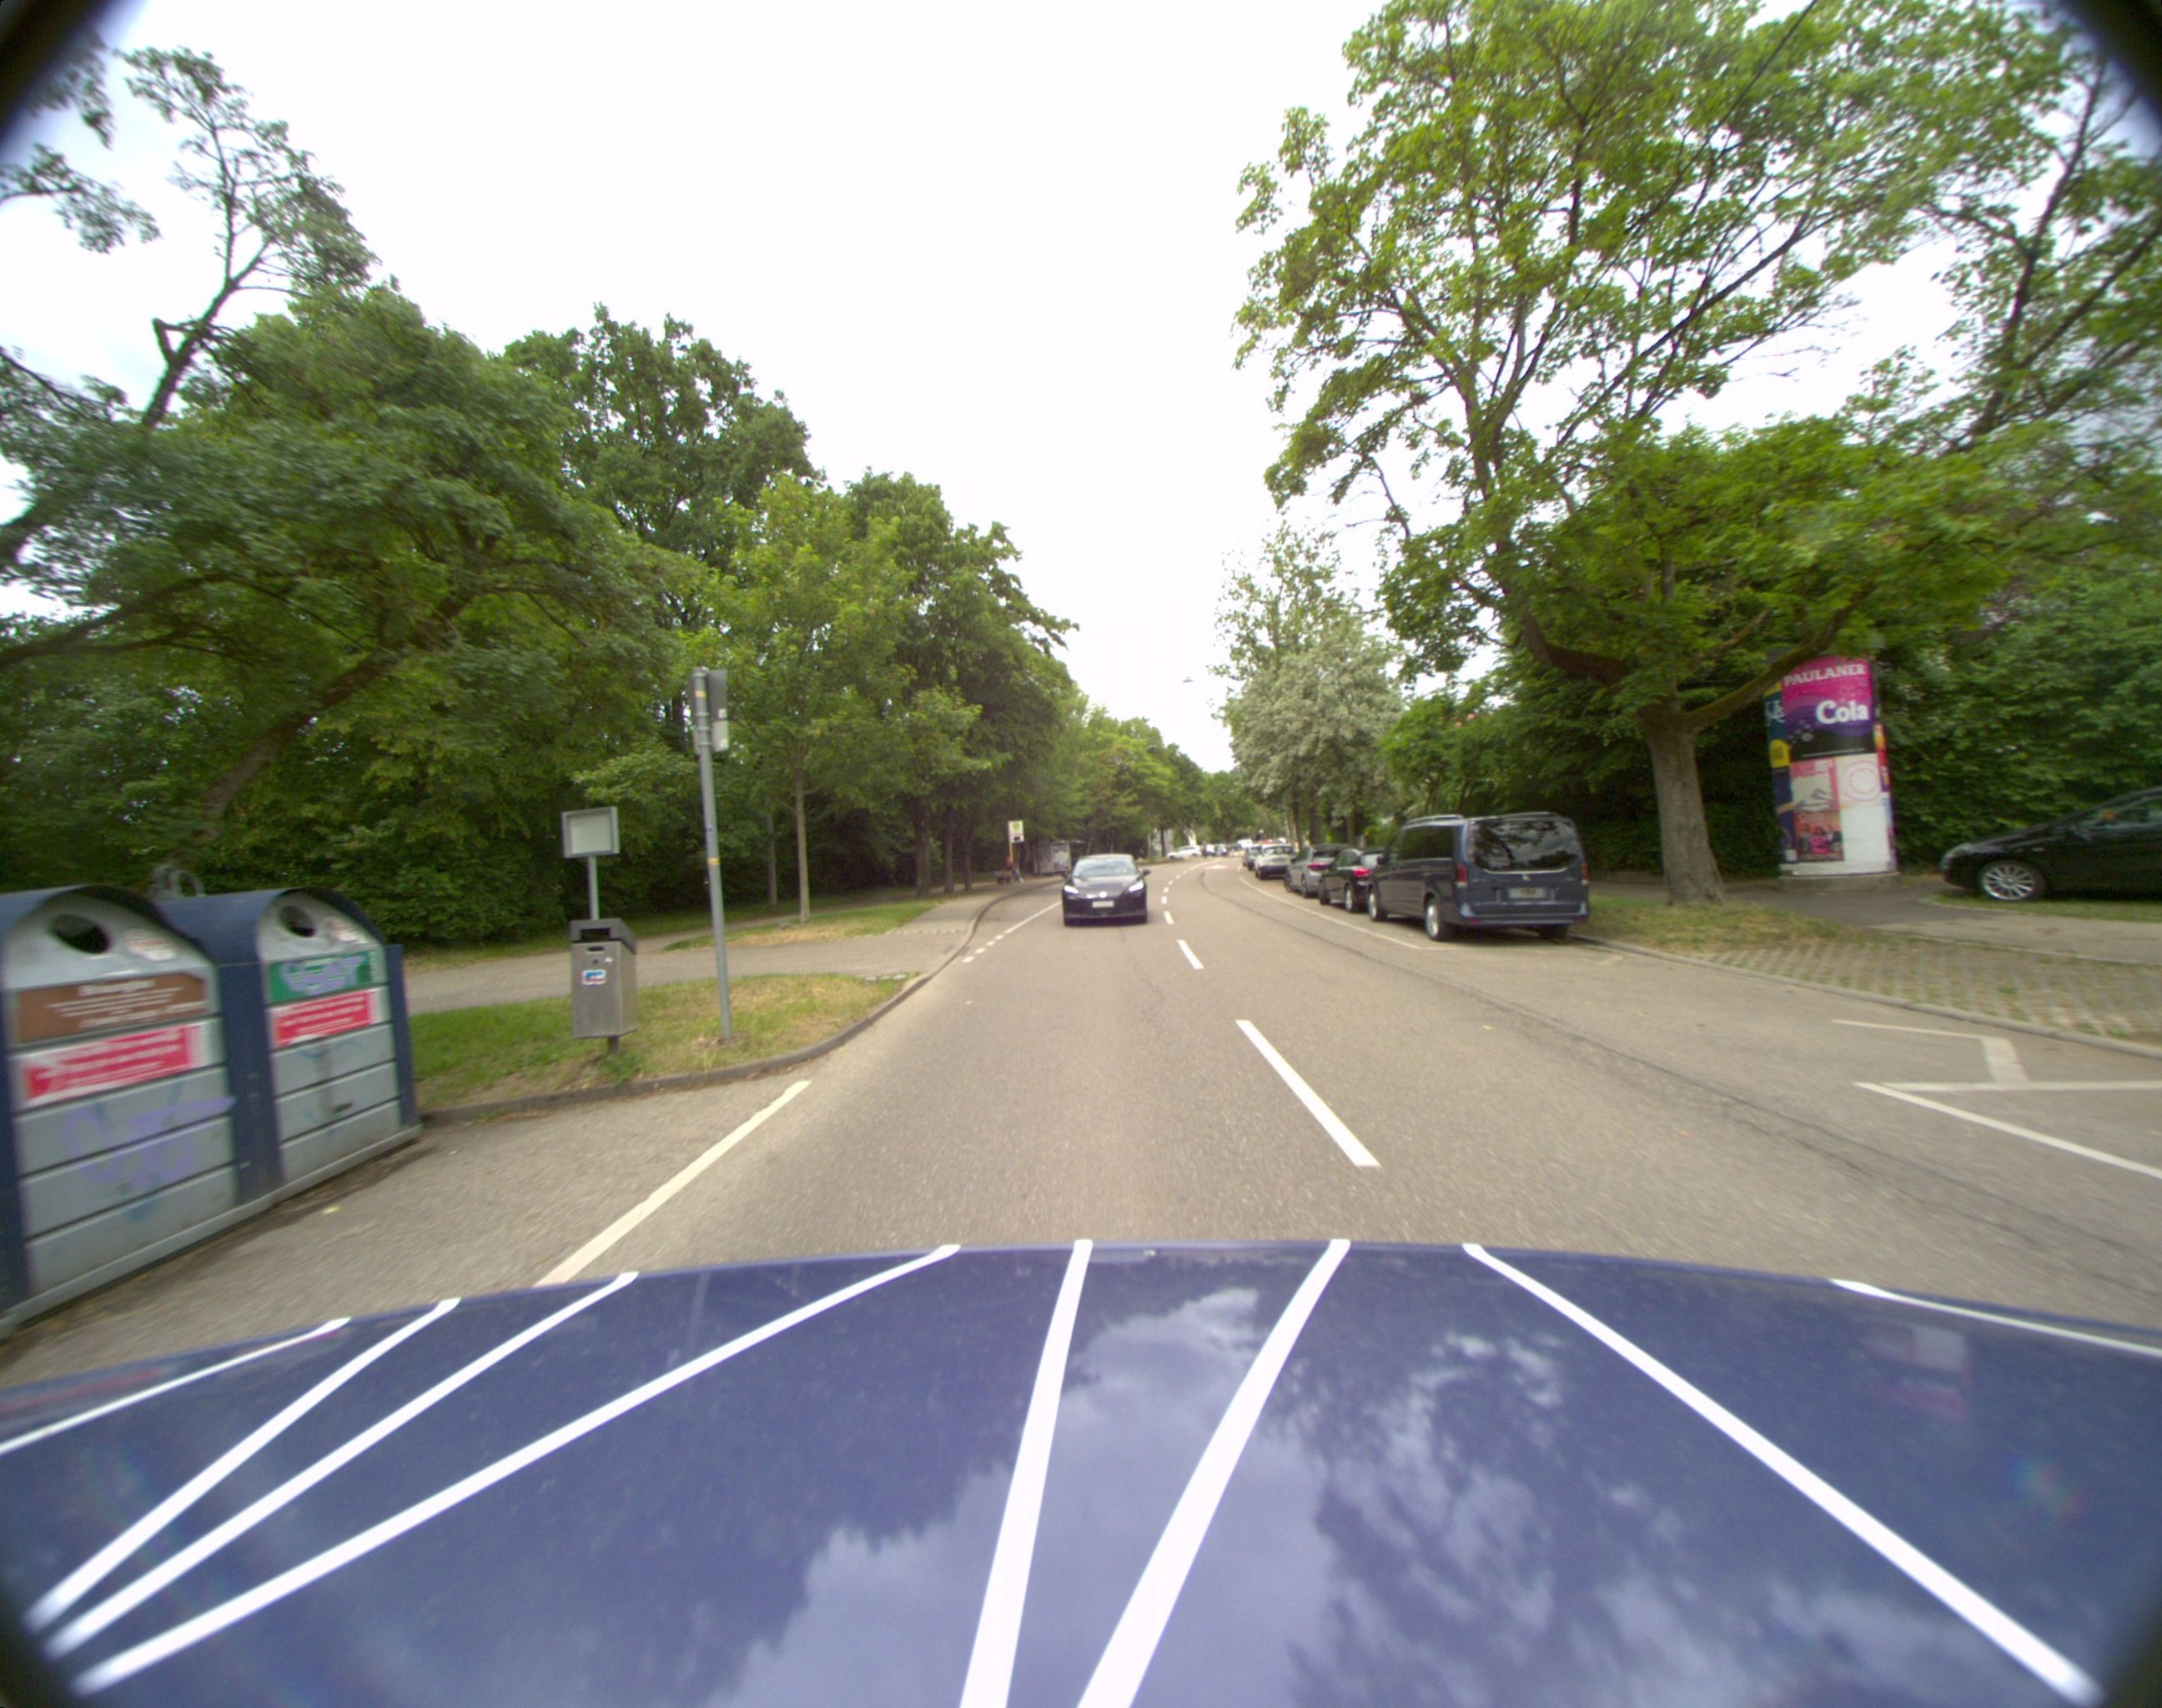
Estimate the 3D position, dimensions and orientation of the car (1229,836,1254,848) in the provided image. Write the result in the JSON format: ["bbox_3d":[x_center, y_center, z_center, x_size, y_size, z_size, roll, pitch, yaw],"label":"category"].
[{"bbox_3d":[30.113,-2.201,142.441,4.219,1.748,1.859,-5,0,-2],"label":"car"}]

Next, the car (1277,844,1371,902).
[{"bbox_3d":[7.267,0.505,23.143,1.870,1.529,4.229,-3,0,7],"label":"car"}]

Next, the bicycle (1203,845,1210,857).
[{"bbox_3d":[13.614,-0.384,82.278,0.647,1.230,1.878,-4,0,11],"label":"bicycle"}]

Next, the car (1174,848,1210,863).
[{"bbox_3d":[13.969,0.164,95.781,4.142,1.455,1.798,-5,0,3],"label":"car"}]

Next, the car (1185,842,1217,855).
[{"bbox_3d":[16.838,-0.796,106.707,3.998,1.455,1.865,-5,0,-3],"label":"car"}]

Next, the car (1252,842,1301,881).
[{"bbox_3d":[8.835,0.300,34.588,1.738,1.569,4.144,-2,1,10],"label":"car"}]

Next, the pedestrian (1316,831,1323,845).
[{"bbox_3d":[29.157,-1.939,92.940,0.693,1.701,0.779,-4,1,13],"label":"pedestrian"}]

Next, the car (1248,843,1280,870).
[{"bbox_3d":[11.059,0.115,46.017,1.738,1.529,4.193,-2,1,13],"label":"car"}]

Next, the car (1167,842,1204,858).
[{"bbox_3d":[13.027,-0.455,94.561,4.476,1.576,1.908,-5,0,10],"label":"car"}]

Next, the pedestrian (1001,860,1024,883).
[{"bbox_3d":[-3.774,0.969,41.974,1.065,1.175,0.580,-3,1,7],"label":"pedestrian"}]

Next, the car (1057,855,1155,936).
[{"bbox_3d":[0.454,0.855,17.389,1.813,1.484,3.791,-4,1,-3],"label":"car"}]

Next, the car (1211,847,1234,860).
[{"bbox_3d":[17.027,-0.106,91.198,1.858,1.366,4.081,-4,0,23],"label":"car"}]

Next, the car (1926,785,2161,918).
[{"bbox_3d":[13.573,-0.080,9.232,1.779,1.469,3.986,-7,1,-14],"label":"car"}]

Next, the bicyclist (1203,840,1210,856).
[{"bbox_3d":[13.571,-0.651,82.154,0.646,1.769,0.628,-3,2,11],"label":"bicyclist"}]

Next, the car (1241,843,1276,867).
[{"bbox_3d":[11.728,0.035,50.506,1.739,1.408,4.474,-2,1,7],"label":"car"}]

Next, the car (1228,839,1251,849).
[{"bbox_3d":[29.067,-1.820,139.491,3.853,1.430,1.716,-5,0,8],"label":"car"}]

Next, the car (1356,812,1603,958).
[{"bbox_3d":[6.342,0.398,12.896,1.862,1.898,5.084,-3,0,6],"label":"car"}]
